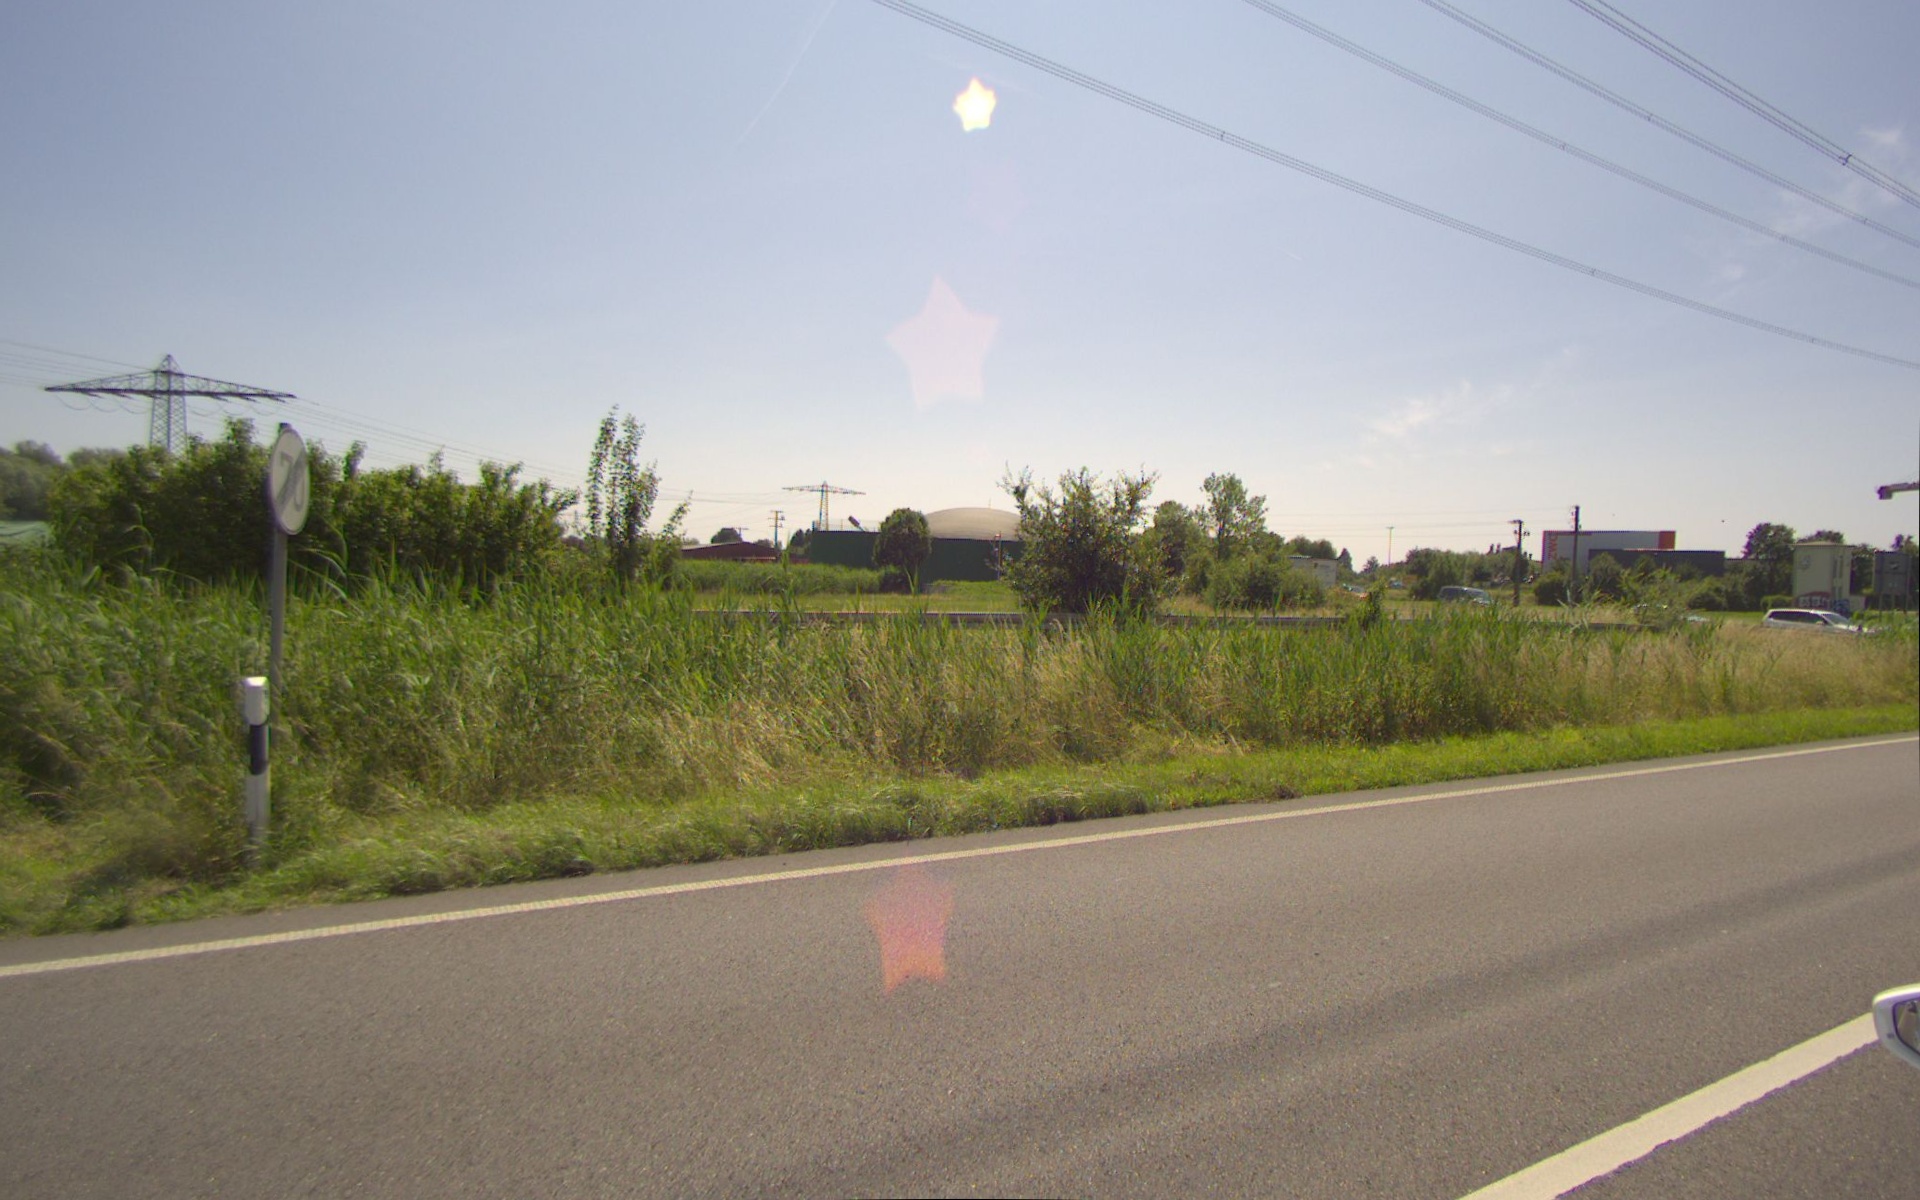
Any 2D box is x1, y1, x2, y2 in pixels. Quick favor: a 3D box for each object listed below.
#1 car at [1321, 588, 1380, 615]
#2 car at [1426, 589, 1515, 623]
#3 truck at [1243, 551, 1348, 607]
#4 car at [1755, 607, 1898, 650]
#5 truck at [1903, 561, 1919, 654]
[{"bbox_3d":[29.189,0.082,75.185,1.883,1.874,4.472,2,2,-12],"label":"car"},{"bbox_3d":[32.336,0.356,63.805,2.057,1.893,4.928,0,2,-21],"label":"car"},{"bbox_3d":[30.995,-1.961,93.707,3.622,4.708,13.220,2,1,-8],"label":"truck"},{"bbox_3d":[38.954,1.239,45.314,1.935,1.634,4.541,2,2,-15],"label":"car"},{"bbox_3d":[42.162,0.528,38.755,2.466,3.785,7.874,2,2,-27],"label":"truck"}]
